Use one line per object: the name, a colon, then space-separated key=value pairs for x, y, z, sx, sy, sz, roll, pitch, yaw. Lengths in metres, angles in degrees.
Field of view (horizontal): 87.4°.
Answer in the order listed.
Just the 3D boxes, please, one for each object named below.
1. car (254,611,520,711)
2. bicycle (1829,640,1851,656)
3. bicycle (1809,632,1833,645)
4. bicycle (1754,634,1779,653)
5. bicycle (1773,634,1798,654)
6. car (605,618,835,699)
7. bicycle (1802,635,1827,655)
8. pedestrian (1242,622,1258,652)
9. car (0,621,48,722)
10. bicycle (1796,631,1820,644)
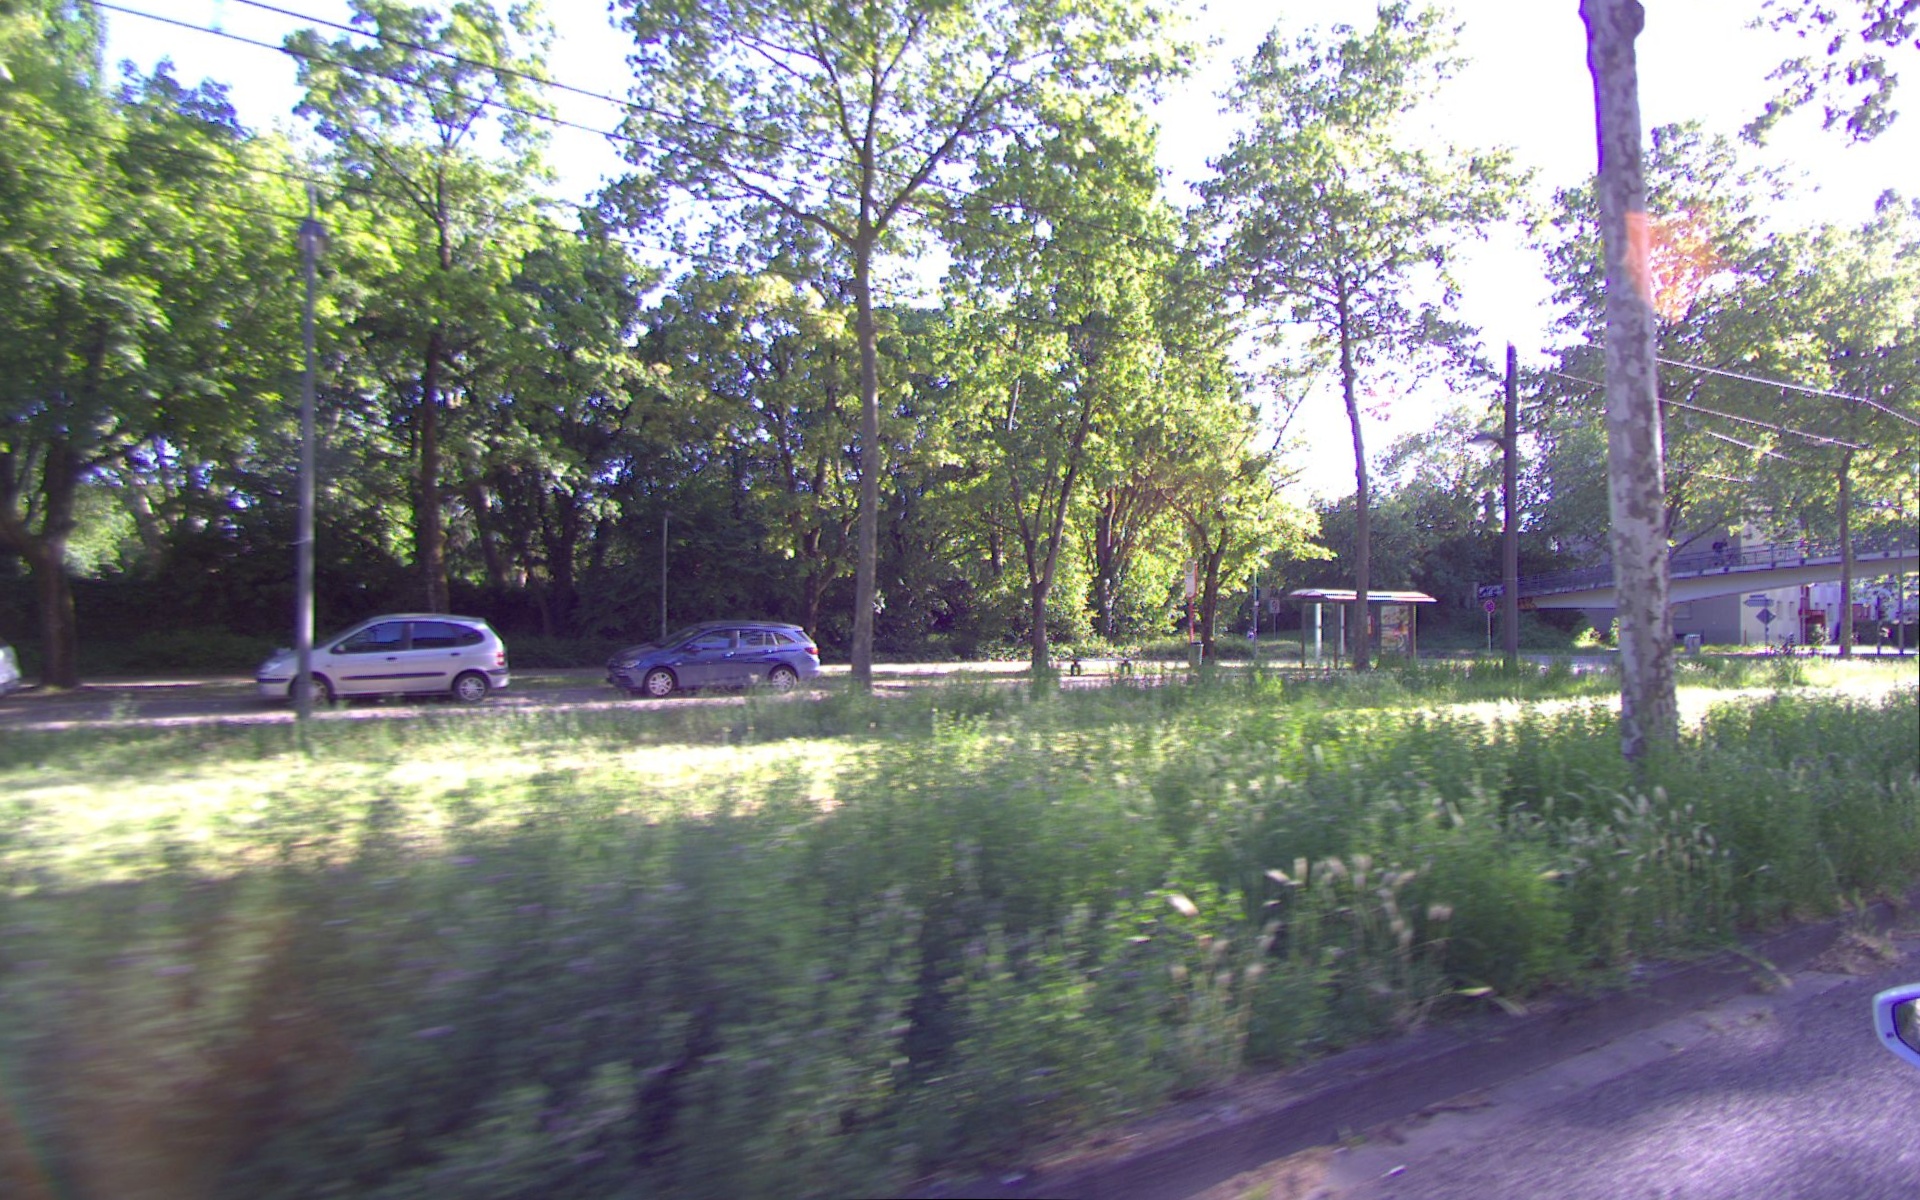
car: x=-10.665 y=1.102 z=18.960 sx=4.140 sy=1.618 sz=1.807 roll=2 pitch=2 yaw=-30
bicycle: x=44.473 y=2.426 z=50.765 sx=1.160 sy=0.789 sz=0.432 roll=1 pitch=0 yaw=-29
bicycle: x=67.556 y=2.981 z=78.818 sx=2.566 sy=0.940 sz=0.691 roll=0 pitch=1 yaw=-32
bicycle: x=42.990 y=2.306 z=53.526 sx=1.666 sy=1.022 sz=0.432 roll=1 pitch=0 yaw=-29
bicycle: x=44.158 y=2.338 z=53.707 sx=1.666 sy=1.022 sz=0.432 roll=1 pitch=0 yaw=-29
car: x=-5.262 y=1.246 z=22.125 sx=4.572 sy=1.508 sz=1.888 roll=2 pitch=2 yaw=-30
bicycle: x=44.405 y=2.331 z=52.208 sx=1.666 sy=1.022 sz=0.432 roll=1 pitch=0 yaw=-29
pedestrian: x=15.200 y=1.929 z=52.611 sx=0.581 sy=1.511 sz=0.530 roll=1 pitch=0 yaw=-35
car: x=-16.718 y=1.078 z=15.214 sx=3.975 sy=1.438 sz=1.710 roll=1 pitch=2 yaw=-30
bicycle: x=67.174 y=2.977 z=79.561 sx=2.566 sy=0.940 sz=0.691 roll=0 pitch=1 yaw=-32
